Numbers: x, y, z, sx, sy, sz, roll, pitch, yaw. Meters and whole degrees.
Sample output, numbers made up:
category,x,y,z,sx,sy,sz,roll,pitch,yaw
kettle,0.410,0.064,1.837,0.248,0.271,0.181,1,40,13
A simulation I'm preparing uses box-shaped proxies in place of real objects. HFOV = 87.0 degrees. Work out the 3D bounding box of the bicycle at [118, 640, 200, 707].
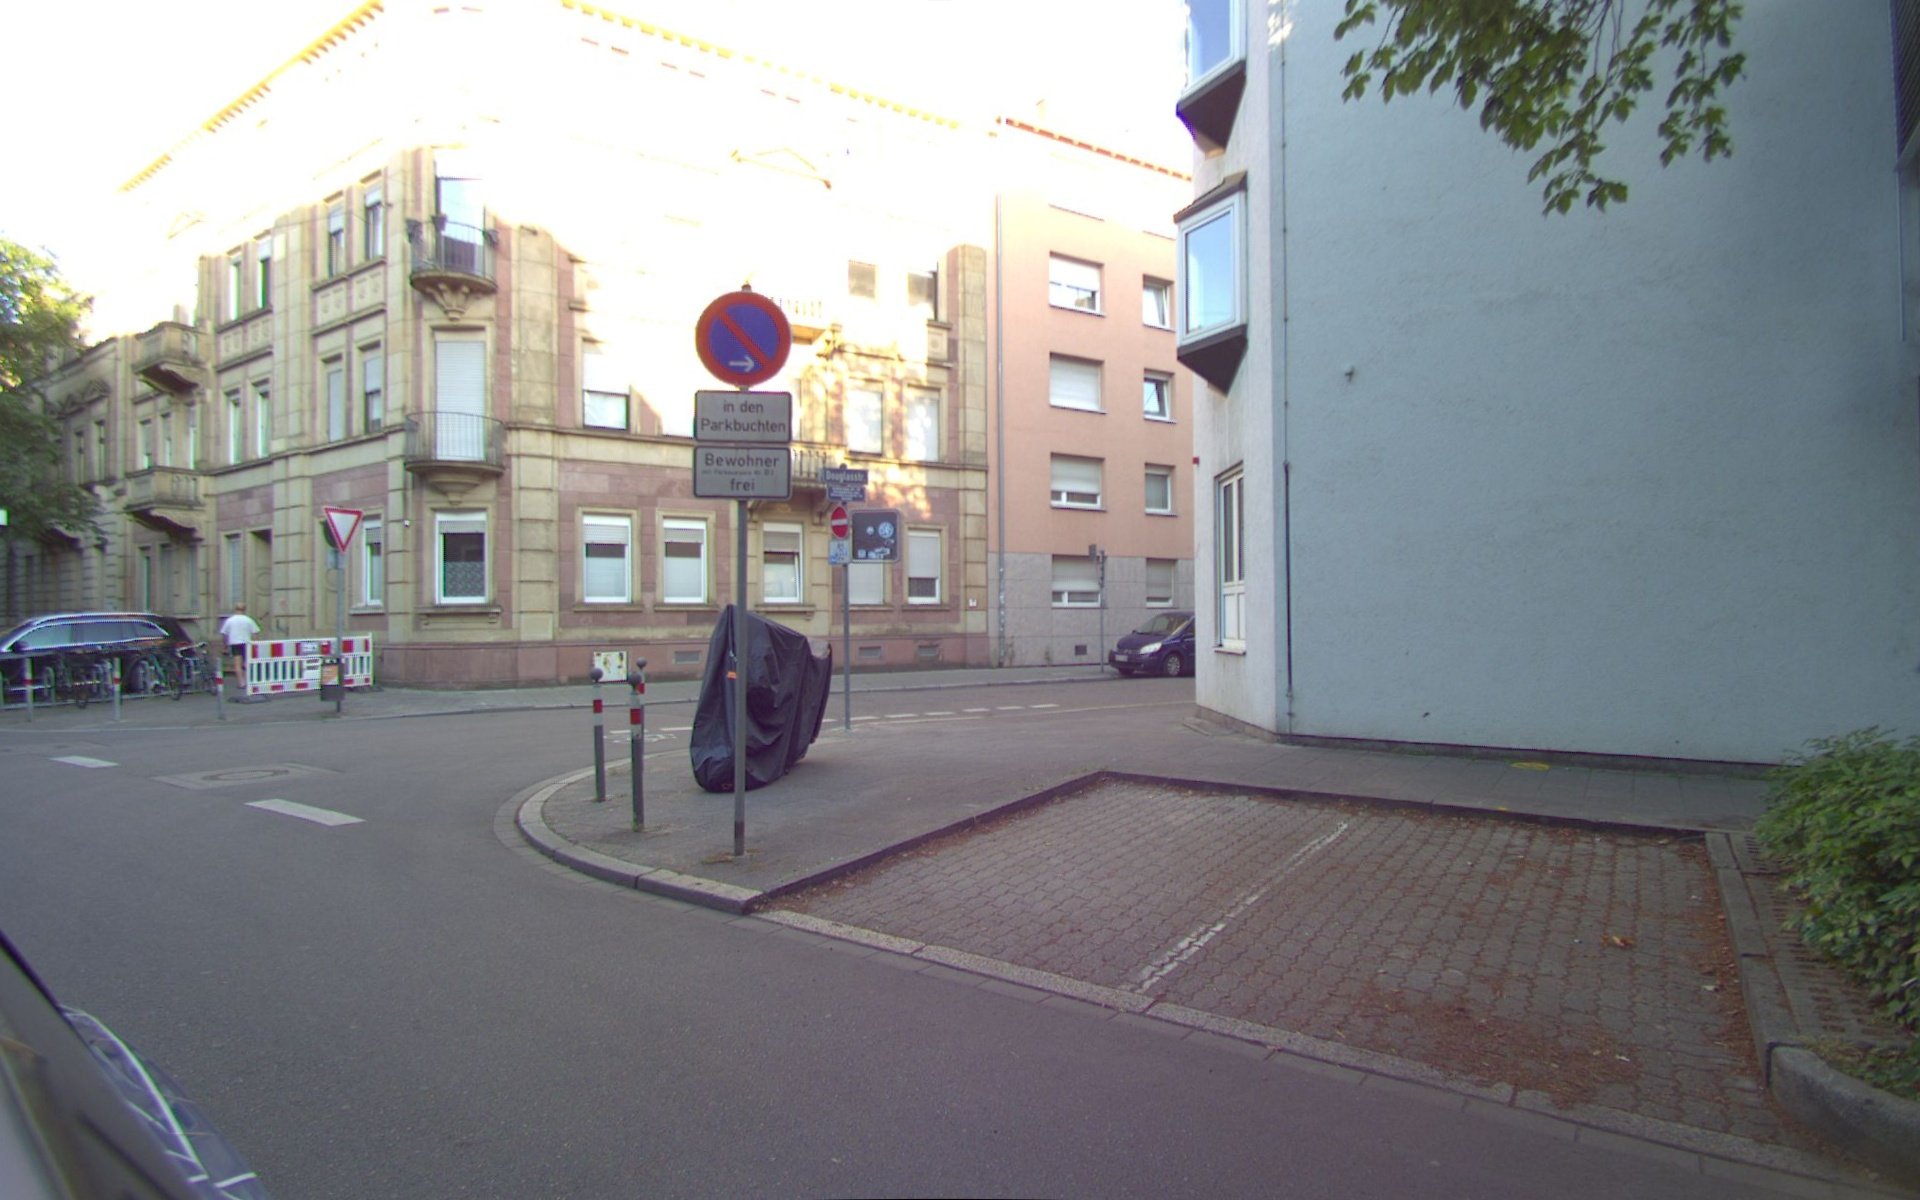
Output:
category,x,y,z,sx,sy,sz,roll,pitch,yaw
bicycle,-14.799,1.332,18.681,2.033,1.159,0.556,-1,-1,33

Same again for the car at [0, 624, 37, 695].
category,x,y,z,sx,sy,sz,roll,pitch,yaw
car,-24.304,1.404,23.393,1.740,1.690,4.190,-1,-2,39

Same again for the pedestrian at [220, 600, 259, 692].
category,x,y,z,sx,sy,sz,roll,pitch,yaw
pedestrian,-14.680,0.920,20.611,0.564,1.821,0.652,0,-2,-43

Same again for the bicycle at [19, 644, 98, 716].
category,x,y,z,sx,sy,sz,roll,pitch,yaw
bicycle,-15.623,1.354,17.524,2.034,1.159,0.555,-1,-1,34

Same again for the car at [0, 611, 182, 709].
category,x,y,z,sx,sy,sz,roll,pitch,yaw
car,-17.914,1.125,19.475,1.740,1.795,4.369,-1,-2,38

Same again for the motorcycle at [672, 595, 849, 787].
category,x,y,z,sx,sy,sz,roll,pitch,yaw
motorcycle,-1.725,0.748,9.201,0.809,1.516,2.276,-1,-1,10

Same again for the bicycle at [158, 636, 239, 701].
category,x,y,z,sx,sy,sz,roll,pitch,yaw
bicycle,-14.445,1.271,19.184,2.033,1.159,0.556,-1,-1,33

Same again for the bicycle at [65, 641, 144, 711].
category,x,y,z,sx,sy,sz,roll,pitch,yaw
bicycle,-15.270,1.330,18.053,2.034,1.159,0.555,-1,-1,34

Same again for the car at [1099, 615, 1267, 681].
category,x,y,z,sx,sy,sz,roll,pitch,yaw
car,5.739,1.168,25.850,4.297,1.529,1.789,1,-2,-36
